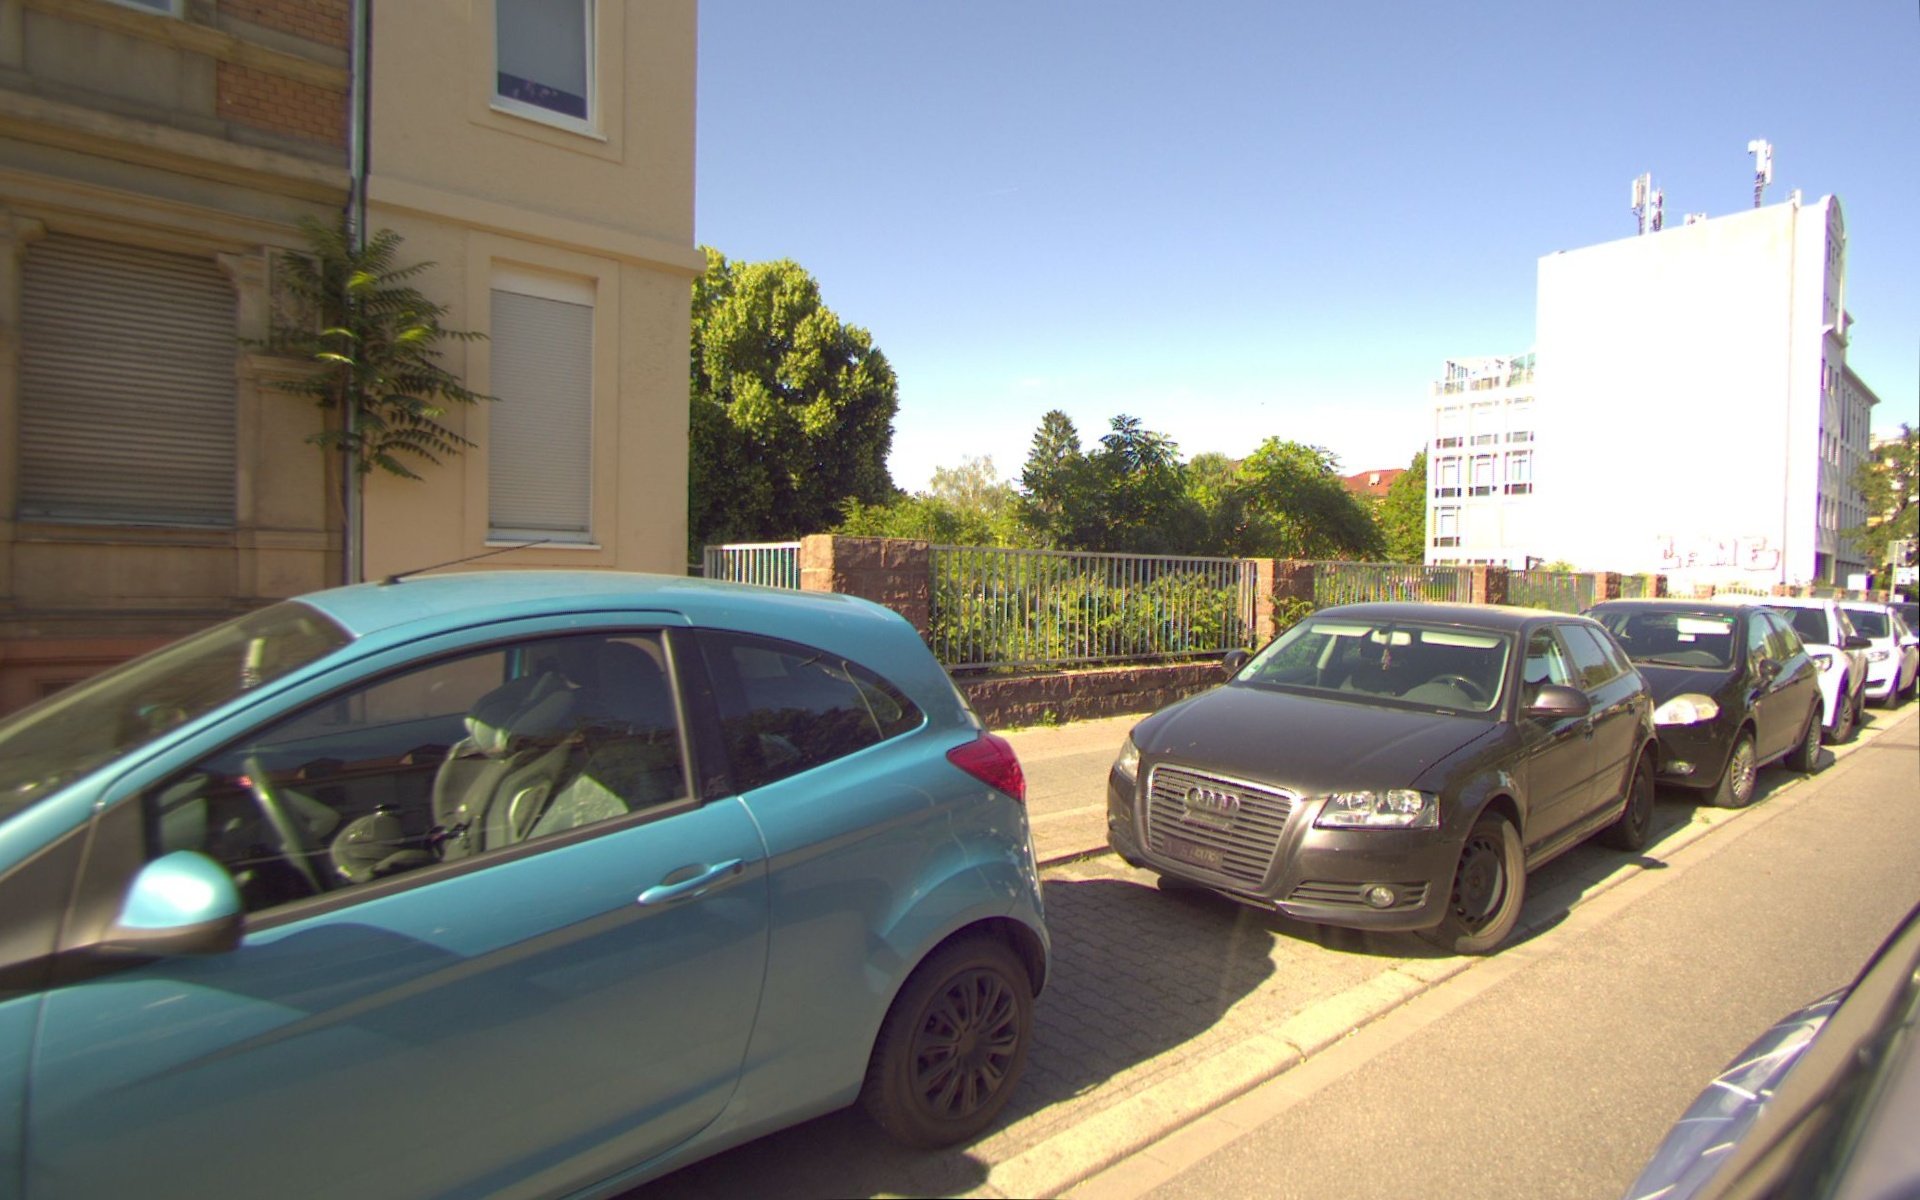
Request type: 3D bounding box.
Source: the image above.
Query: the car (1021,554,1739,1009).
[{"bbox_3d":[2.584,0.581,5.607,4.406,1.538,1.938,0,2,-42],"label":"car"}]

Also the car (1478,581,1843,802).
[{"bbox_3d":[5.984,0.588,8.491,3.710,1.411,1.671,0,2,-42],"label":"car"}]

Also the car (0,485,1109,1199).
[{"bbox_3d":[-1.342,0.557,2.440,3.241,1.489,1.625,1,2,-41],"label":"car"}]

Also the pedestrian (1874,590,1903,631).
[{"bbox_3d":[36.768,0.421,40.069,0.881,1.603,0.744,0,0,-40],"label":"pedestrian"}]

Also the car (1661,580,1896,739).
[{"bbox_3d":[9.648,0.574,11.831,3.600,1.538,1.670,0,2,-44],"label":"car"}]

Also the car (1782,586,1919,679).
[{"bbox_3d":[17.056,0.543,19.260,3.920,1.477,1.670,0,5,-44],"label":"car"}]

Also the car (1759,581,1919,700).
[{"bbox_3d":[13.501,0.532,15.243,3.595,1.463,1.612,0,4,-42],"label":"car"}]

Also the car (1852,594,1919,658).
[{"bbox_3d":[20.632,0.554,21.771,3.834,1.196,1.671,0,5,-42],"label":"car"}]
